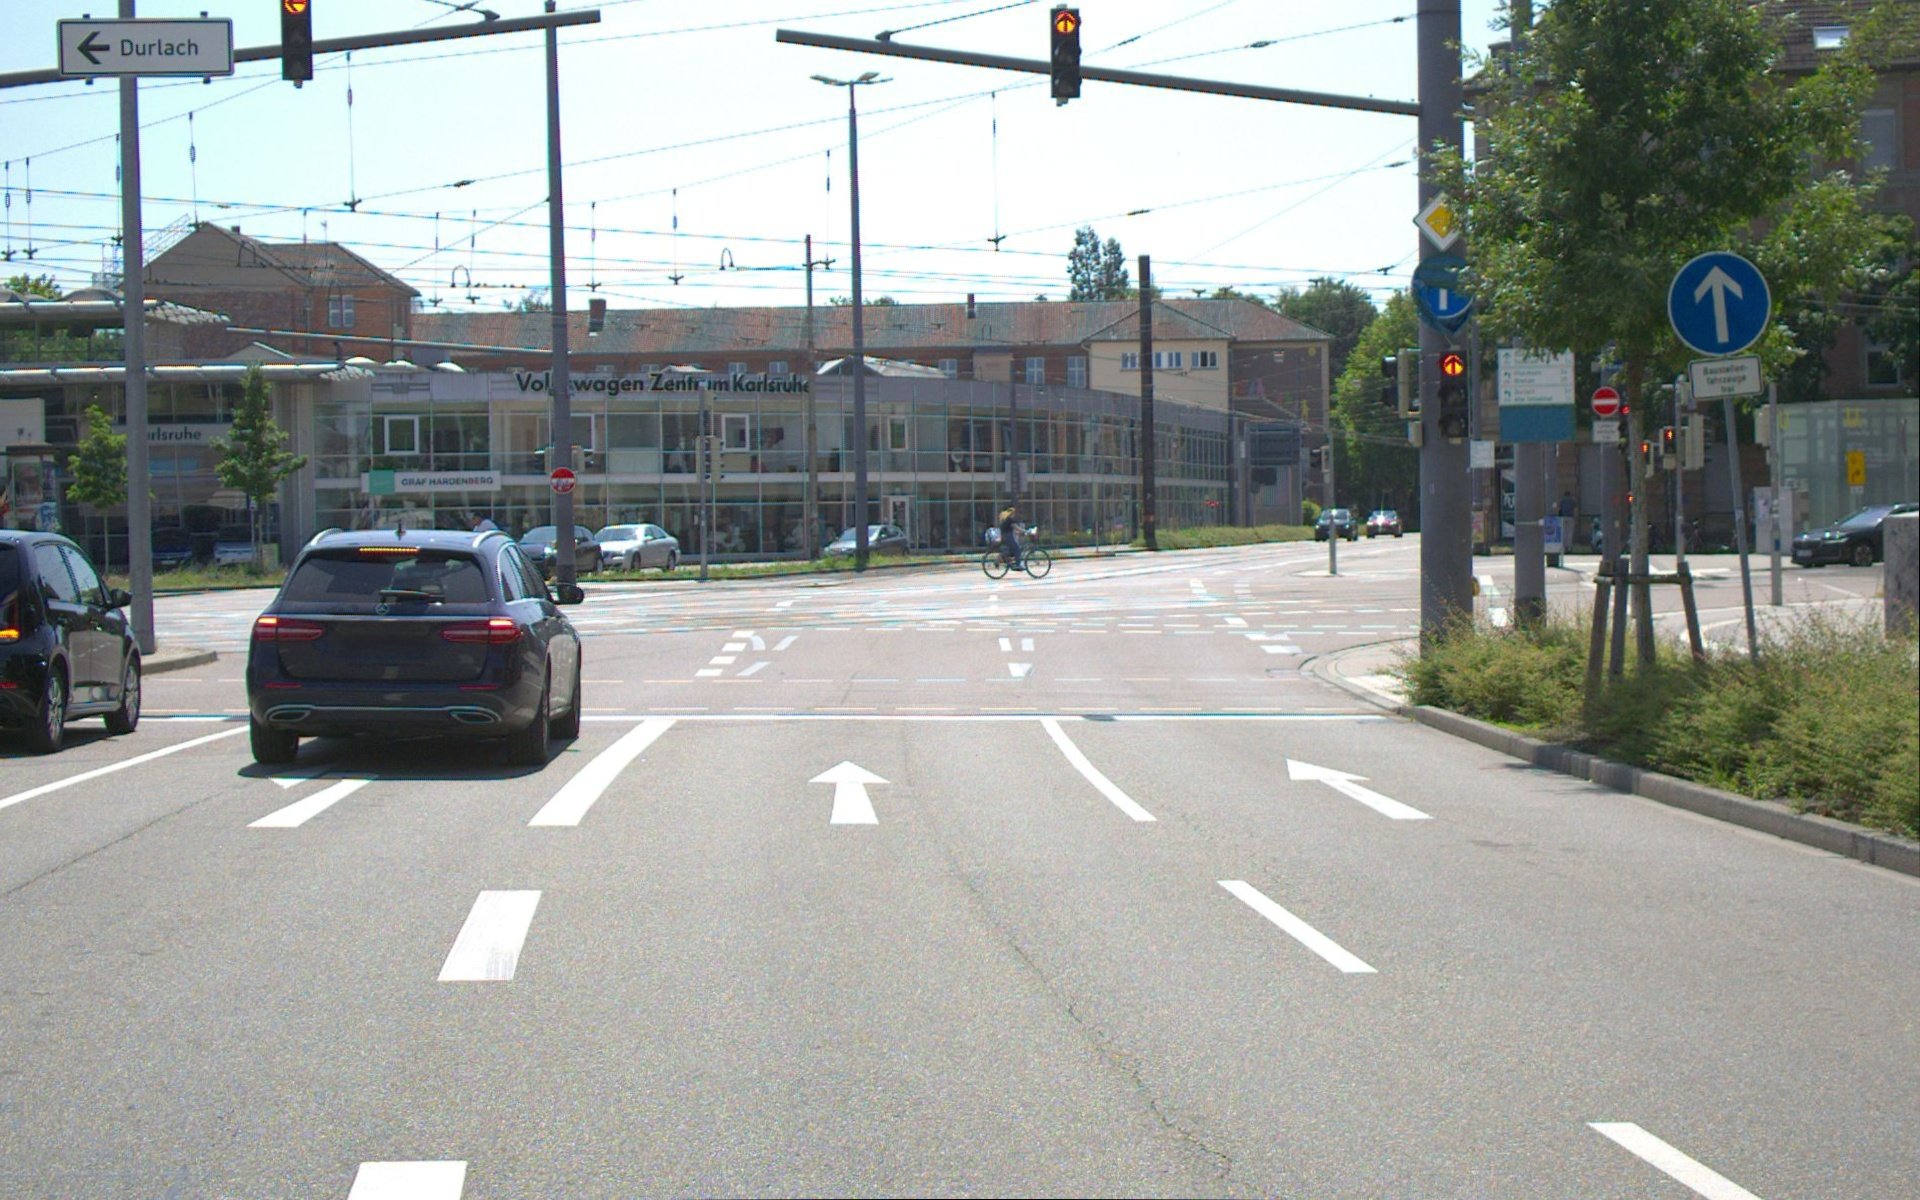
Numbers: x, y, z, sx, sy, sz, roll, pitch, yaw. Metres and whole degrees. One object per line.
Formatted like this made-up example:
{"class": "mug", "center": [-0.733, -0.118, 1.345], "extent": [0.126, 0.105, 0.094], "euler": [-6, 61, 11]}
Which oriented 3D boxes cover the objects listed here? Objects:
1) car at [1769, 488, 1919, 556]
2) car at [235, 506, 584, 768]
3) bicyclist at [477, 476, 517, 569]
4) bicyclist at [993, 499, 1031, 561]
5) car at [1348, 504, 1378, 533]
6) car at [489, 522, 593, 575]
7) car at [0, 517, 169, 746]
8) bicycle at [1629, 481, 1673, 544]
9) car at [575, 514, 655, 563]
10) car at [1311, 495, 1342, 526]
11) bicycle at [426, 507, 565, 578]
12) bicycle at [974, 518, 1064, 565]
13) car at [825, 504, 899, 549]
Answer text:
{"class": "car", "center": [20.520, -1.781, 77.688], "extent": [4.100, 1.446, 1.698], "euler": [-1, 3, -20]}
{"class": "car", "center": [-3.548, 0.173, 22.888], "extent": [1.716, 1.551, 4.587], "euler": [-1, 1, -2]}
{"class": "bicyclist", "center": [-9.687, -1.632, 71.994], "extent": [0.763, 1.931, 0.660], "euler": [0, 3, -3]}
{"class": "bicyclist", "center": [1.266, -1.706, 83.491], "extent": [0.731, 1.474, 0.656], "euler": [-1, 3, -20]}
{"class": "car", "center": [23.112, -4.696, 197.319], "extent": [1.586, 1.523, 3.715], "euler": [0, 3, 5]}
{"class": "car", "center": [-11.298, -1.407, 92.922], "extent": [1.539, 1.273, 3.537], "euler": [1, 3, 15]}
{"class": "car", "center": [-6.710, 0.165, 23.852], "extent": [1.621, 1.458, 4.001], "euler": [0, 1, -2]}
{"class": "bicycle", "center": [20.650, -2.632, 102.799], "extent": [0.612, 1.782, 3.182], "euler": [0, 3, -1]}
{"class": "car", "center": [-9.925, -1.774, 99.005], "extent": [1.432, 1.281, 3.260], "euler": [1, 3, 11]}
{"class": "car", "center": [18.537, -4.533, 173.651], "extent": [1.531, 1.454, 3.552], "euler": [0, 3, 6]}
{"class": "bicycle", "center": [-9.717, -1.202, 72.010], "extent": [2.825, 1.458, 0.634], "euler": [0, 3, -3]}
{"class": "bicycle", "center": [1.438, -1.430, 83.559], "extent": [2.160, 1.103, 0.457], "euler": [-1, 3, -19]}
{"class": "car", "center": [-3.360, -2.549, 118.431], "extent": [1.572, 1.422, 3.611], "euler": [1, 3, 16]}
